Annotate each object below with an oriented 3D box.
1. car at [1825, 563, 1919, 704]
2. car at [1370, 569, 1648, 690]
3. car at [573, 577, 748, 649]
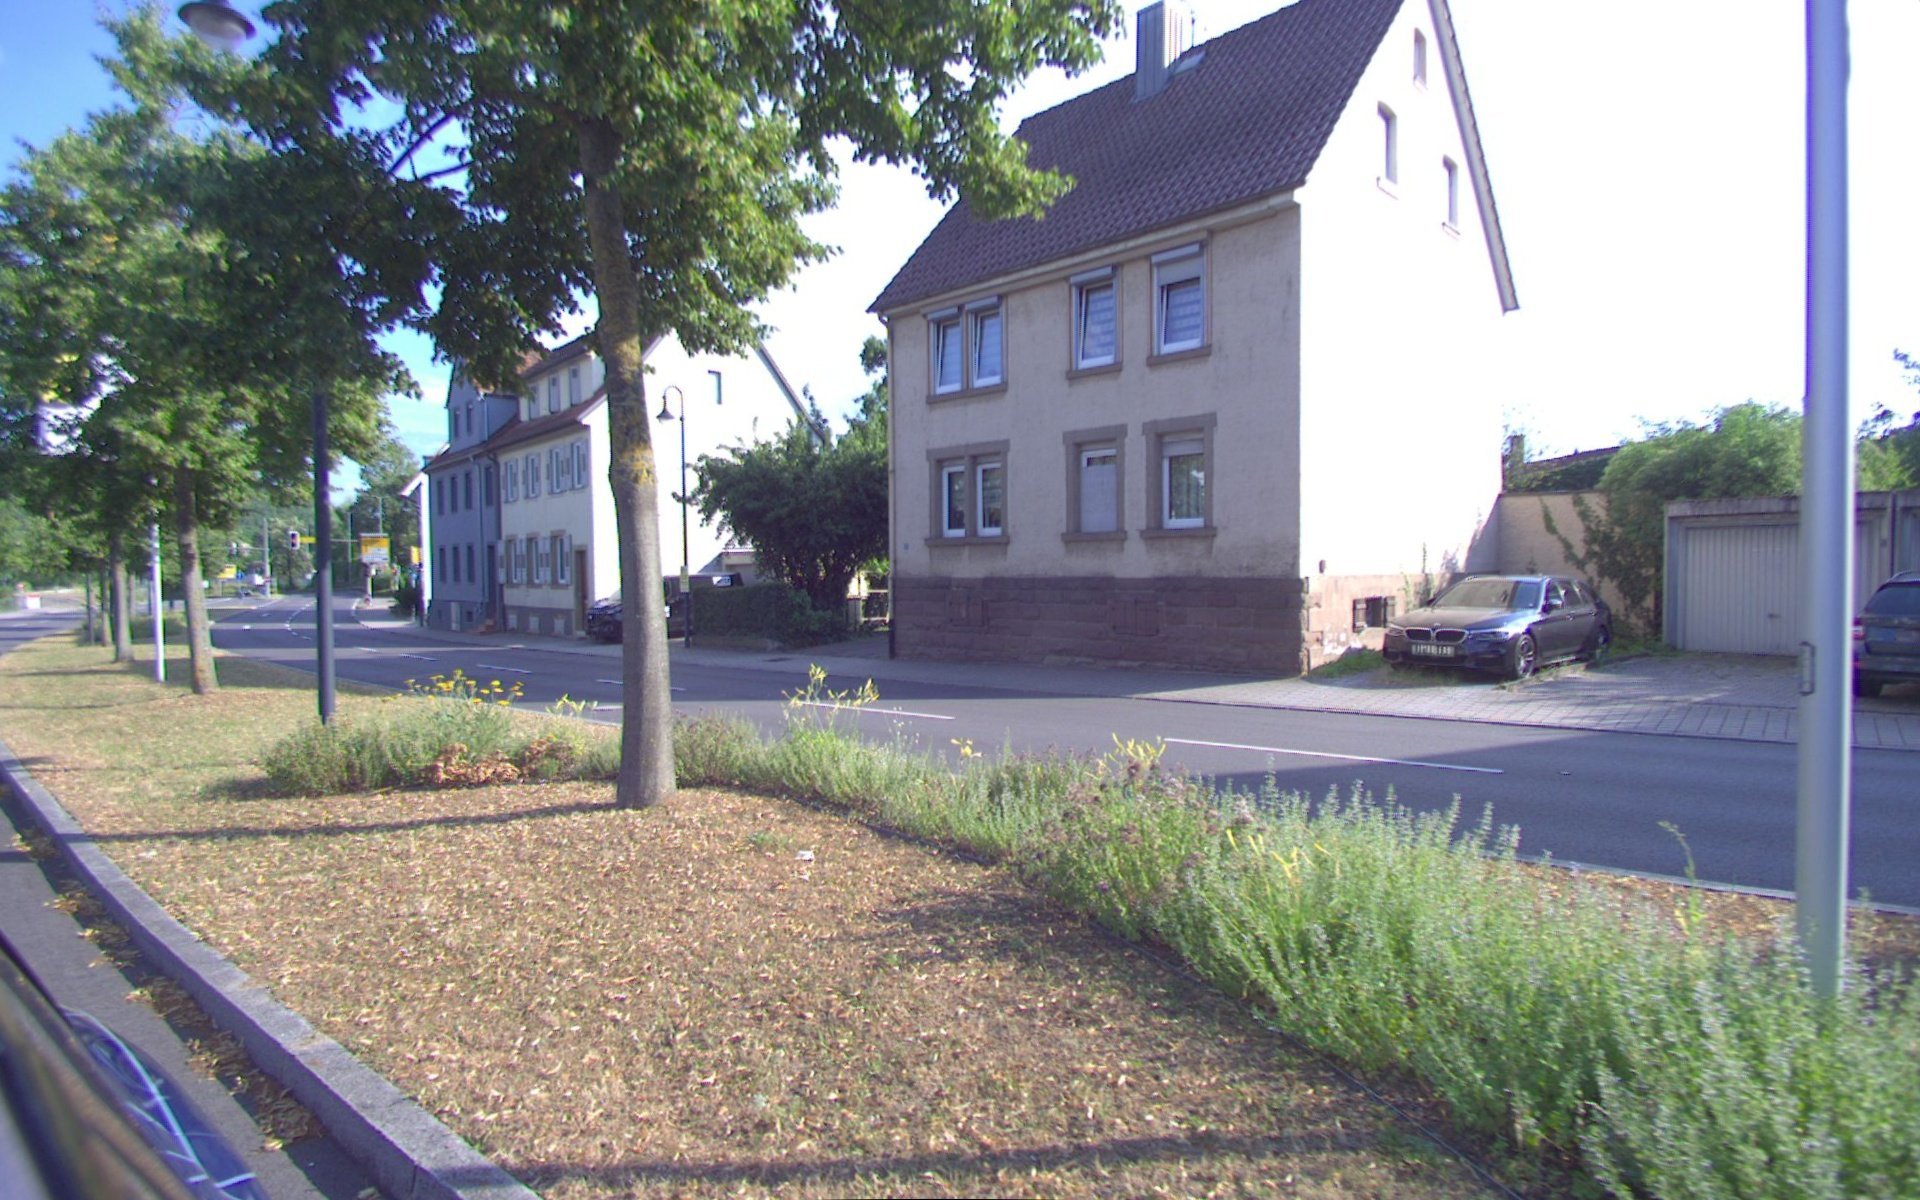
[{"bbox_3d":[12.195,0.298,11.976,4.289,1.497,1.951,-2,1,-35],"label":"car"},{"bbox_3d":[8.314,0.351,15.207,4.289,1.497,2.016,-3,1,-36],"label":"car"},{"bbox_3d":[-9.268,0.339,31.561,4.765,1.891,2.003,-4,2,-41],"label":"car"}]
